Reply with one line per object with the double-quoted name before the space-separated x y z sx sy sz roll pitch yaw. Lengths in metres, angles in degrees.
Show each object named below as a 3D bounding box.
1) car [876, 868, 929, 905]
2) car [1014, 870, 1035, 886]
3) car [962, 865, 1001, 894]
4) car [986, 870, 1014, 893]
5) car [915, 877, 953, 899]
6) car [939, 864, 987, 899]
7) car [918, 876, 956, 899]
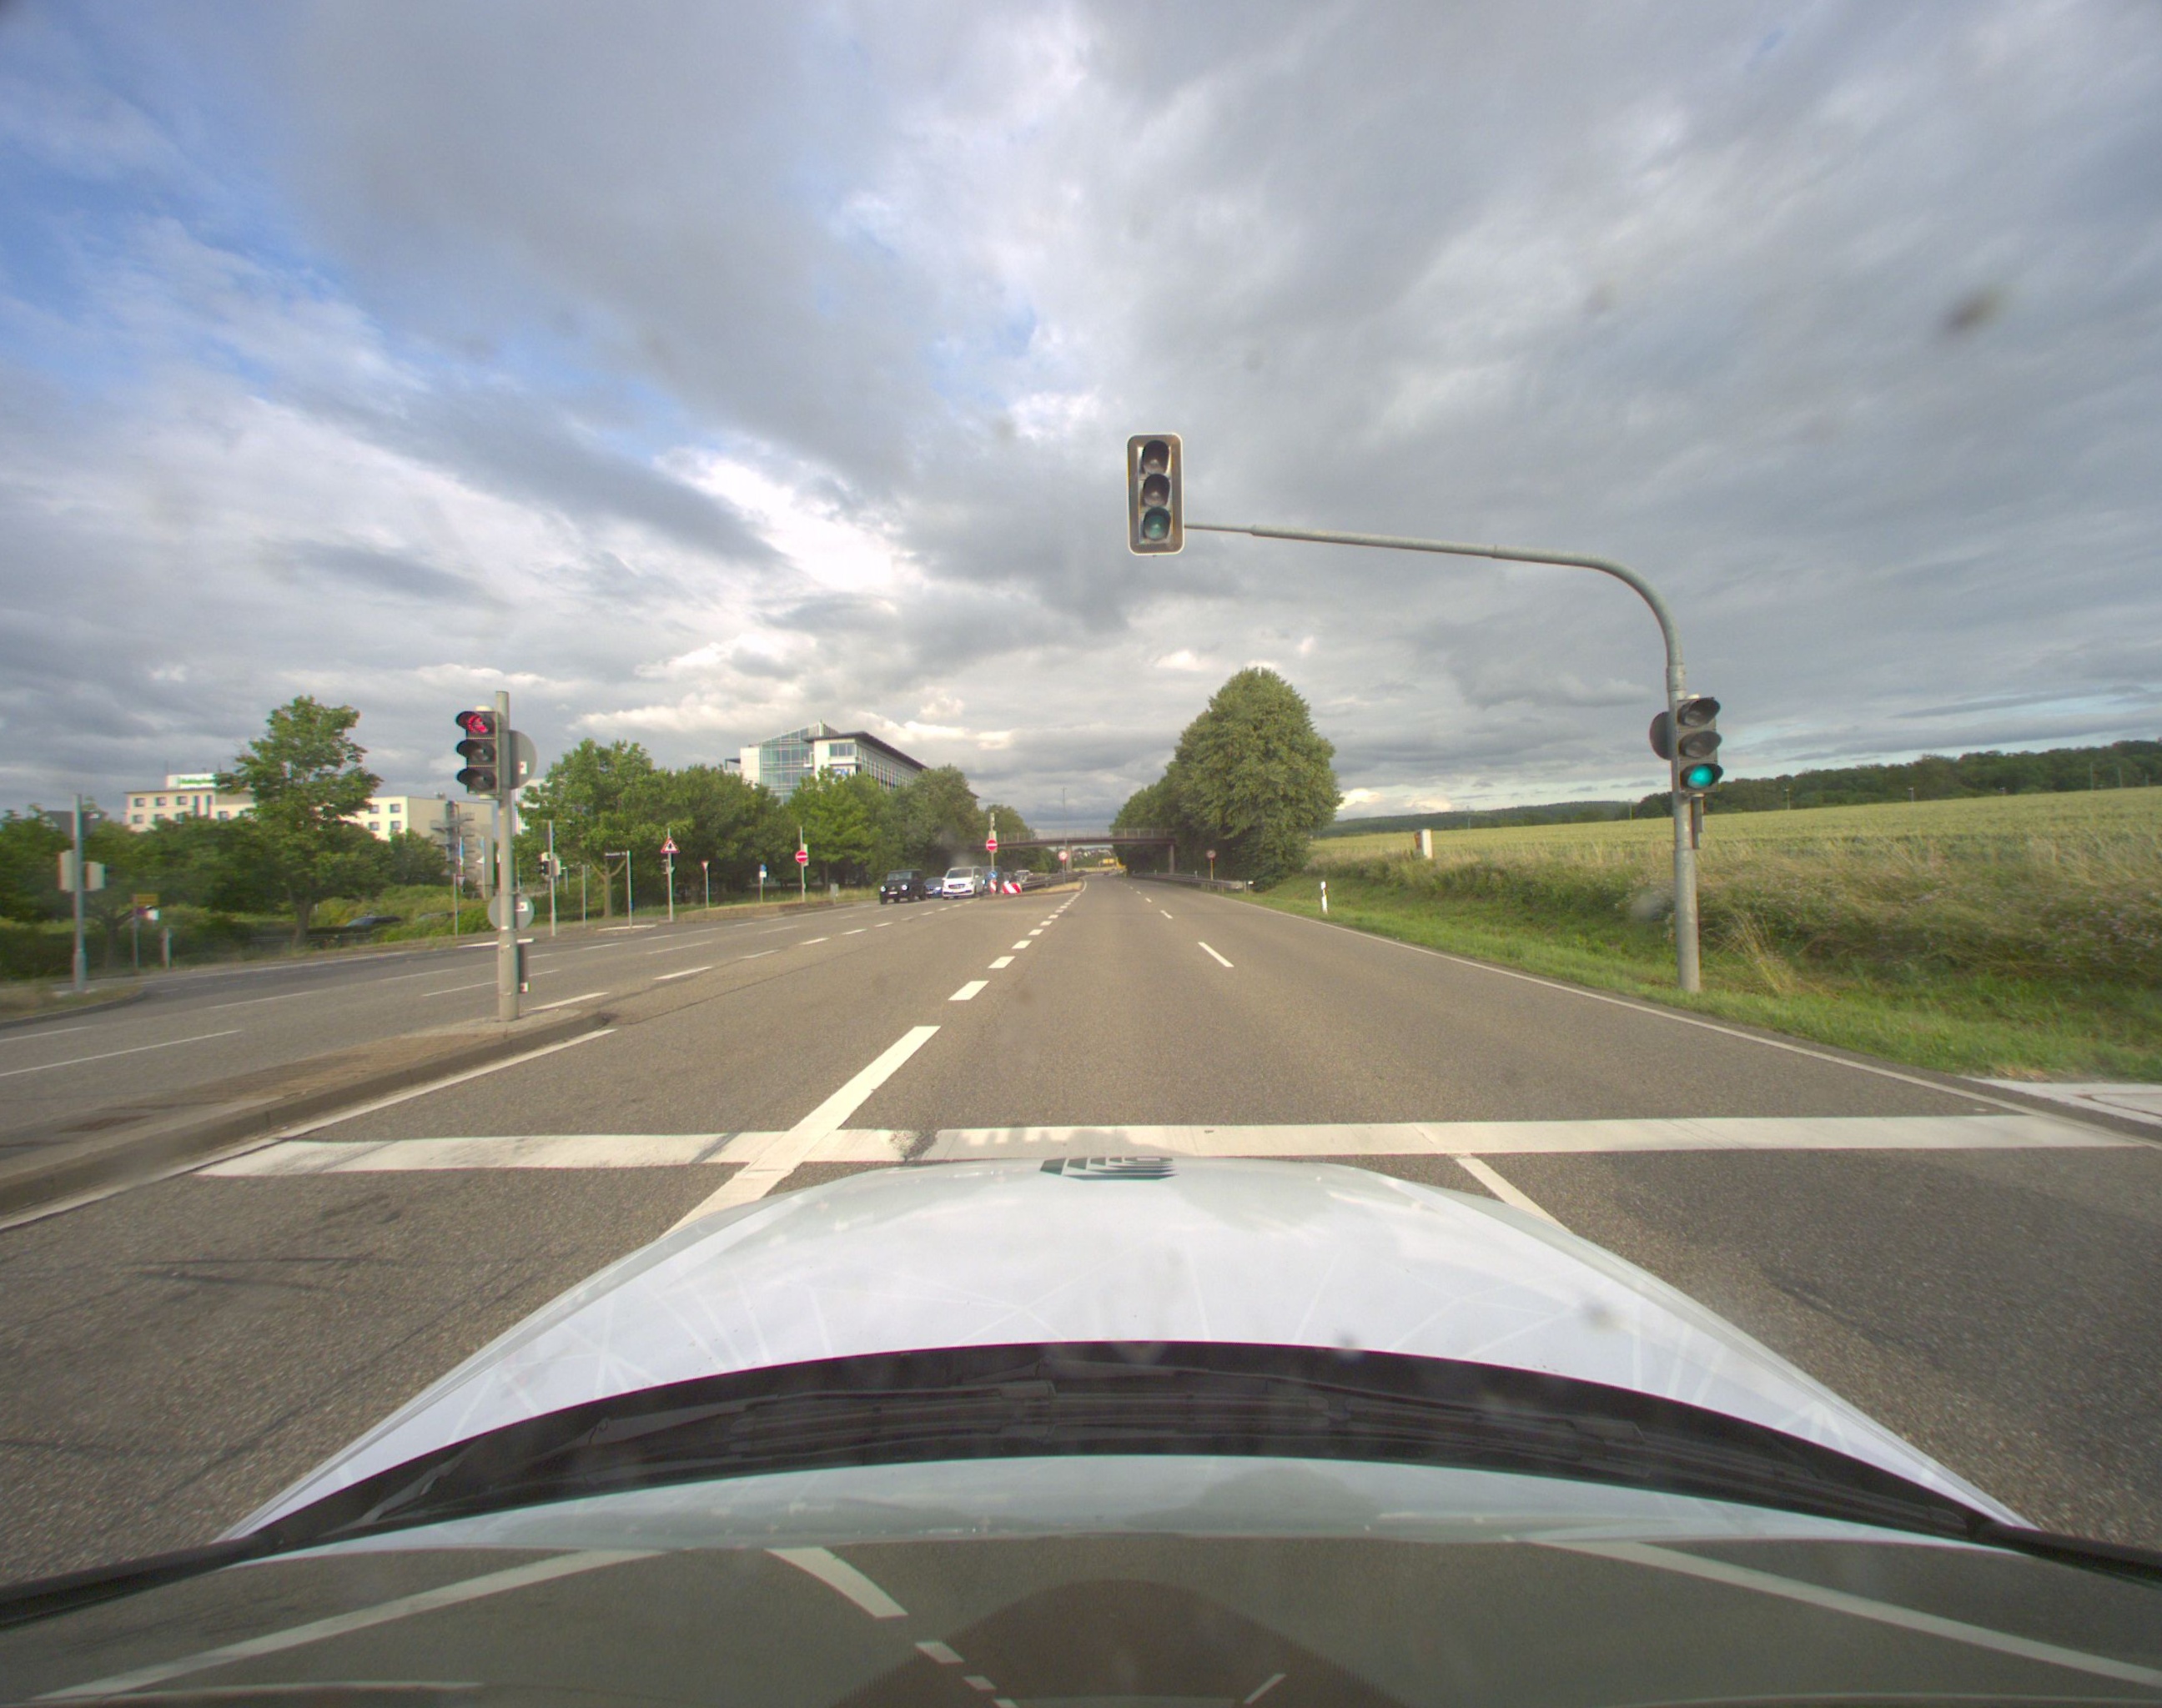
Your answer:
"car" -10.722 1.915 49.317 1.927 1.990 5.091 -3 -1 1
"car" -5.871 2.447 85.113 1.816 1.584 4.790 -1 -1 1
"car" -6.932 1.755 57.015 1.891 1.917 5.053 0 -1 2
"car" -6.450 2.176 65.233 1.707 1.589 4.554 -3 0 1
"car" -10.136 2.337 56.239 1.715 1.240 4.000 -6 -1 1
"car" -7.079 1.623 49.480 1.927 1.872 5.347 -3 -1 1
"car" -9.939 2.295 56.326 1.641 1.388 4.188 -3 -1 2
